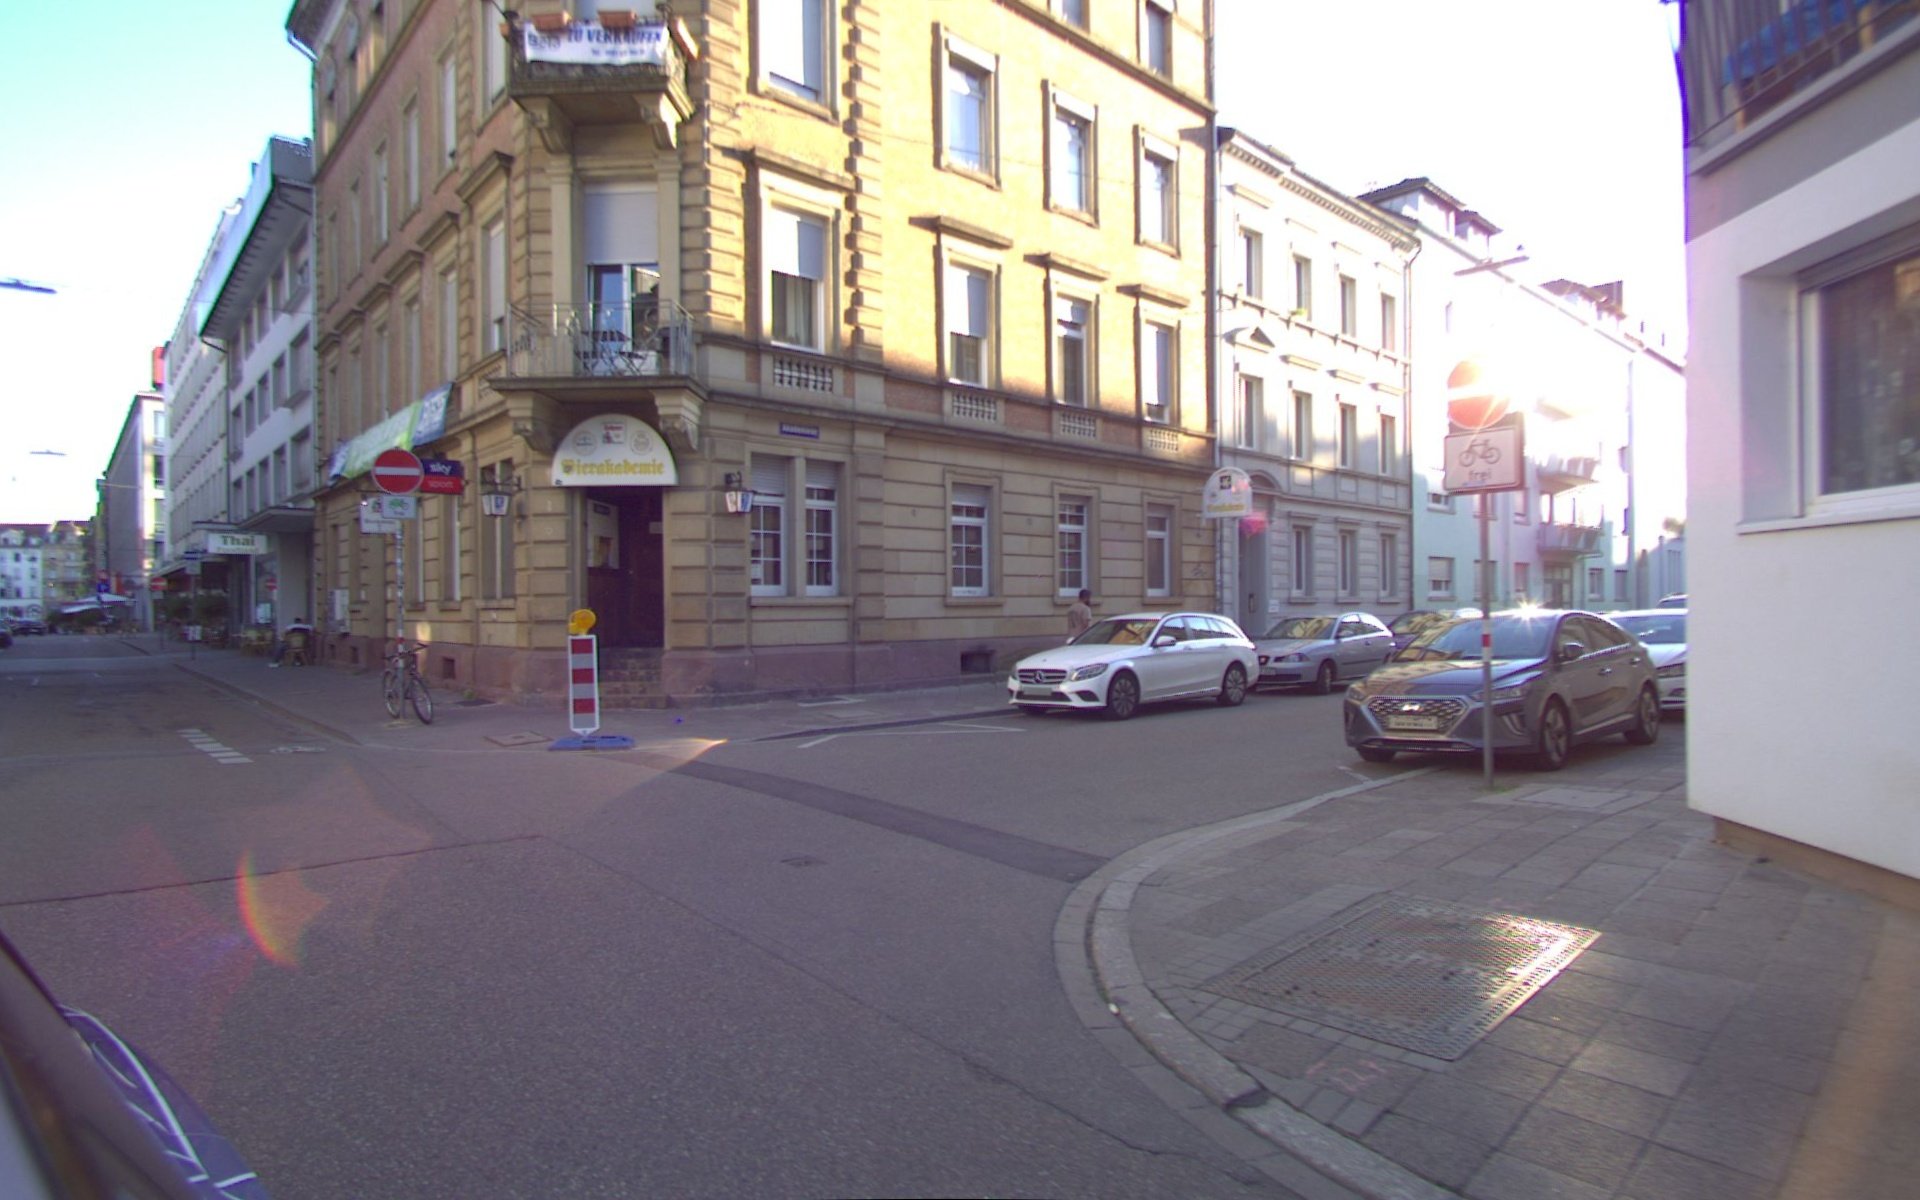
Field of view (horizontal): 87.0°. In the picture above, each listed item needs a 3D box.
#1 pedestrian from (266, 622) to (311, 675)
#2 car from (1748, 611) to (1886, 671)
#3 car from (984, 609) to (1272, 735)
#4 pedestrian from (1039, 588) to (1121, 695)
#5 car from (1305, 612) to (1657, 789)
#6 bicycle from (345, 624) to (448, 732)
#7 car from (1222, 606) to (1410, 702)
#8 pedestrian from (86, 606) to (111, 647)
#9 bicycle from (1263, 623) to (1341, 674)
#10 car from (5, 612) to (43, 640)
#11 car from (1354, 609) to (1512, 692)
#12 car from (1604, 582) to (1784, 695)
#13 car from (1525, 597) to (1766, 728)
[{"bbox_3d":[-17.582,1.252,26.500,0.824,1.349,0.808,0,-1,-22],"label":"pedestrian"},{"bbox_3d":[20.827,0.945,24.548,3.938,1.297,2.003,0,-1,-42],"label":"car"},{"bbox_3d":[2.627,0.943,15.104,4.439,1.576,2.001,0,-2,-44],"label":"car"},{"bbox_3d":[2.048,0.690,17.286,0.984,1.755,1.003,-2,-1,41],"label":"pedestrian"},{"bbox_3d":[5.285,0.866,10.076,3.732,1.383,1.946,0,-3,-44],"label":"car"},{"bbox_3d":[-7.442,0.982,13.327,1.764,1.284,0.651,-2,2,45],"label":"bicycle"},{"bbox_3d":[6.594,0.916,18.590,3.695,1.589,1.632,0,-1,-41],"label":"car"},{"bbox_3d":[-56.925,1.737,66.857,1.229,2.634,1.469,0,-1,-42],"label":"pedestrian"},{"bbox_3d":[8.463,1.178,24.988,2.424,1.169,0.741,0,-1,-43],"label":"bicycle"},{"bbox_3d":[-69.728,1.879,75.365,1.970,2.029,4.003,1,-1,-44],"label":"car"},{"bbox_3d":[10.565,1.060,22.496,3.757,1.671,1.794,0,-1,-41],"label":"car"},{"bbox_3d":[13.233,0.642,18.164,3.940,1.798,1.901,0,-1,-43],"label":"car"},{"bbox_3d":[9.654,0.776,14.157,3.830,1.569,1.972,0,-1,-43],"label":"car"}]
